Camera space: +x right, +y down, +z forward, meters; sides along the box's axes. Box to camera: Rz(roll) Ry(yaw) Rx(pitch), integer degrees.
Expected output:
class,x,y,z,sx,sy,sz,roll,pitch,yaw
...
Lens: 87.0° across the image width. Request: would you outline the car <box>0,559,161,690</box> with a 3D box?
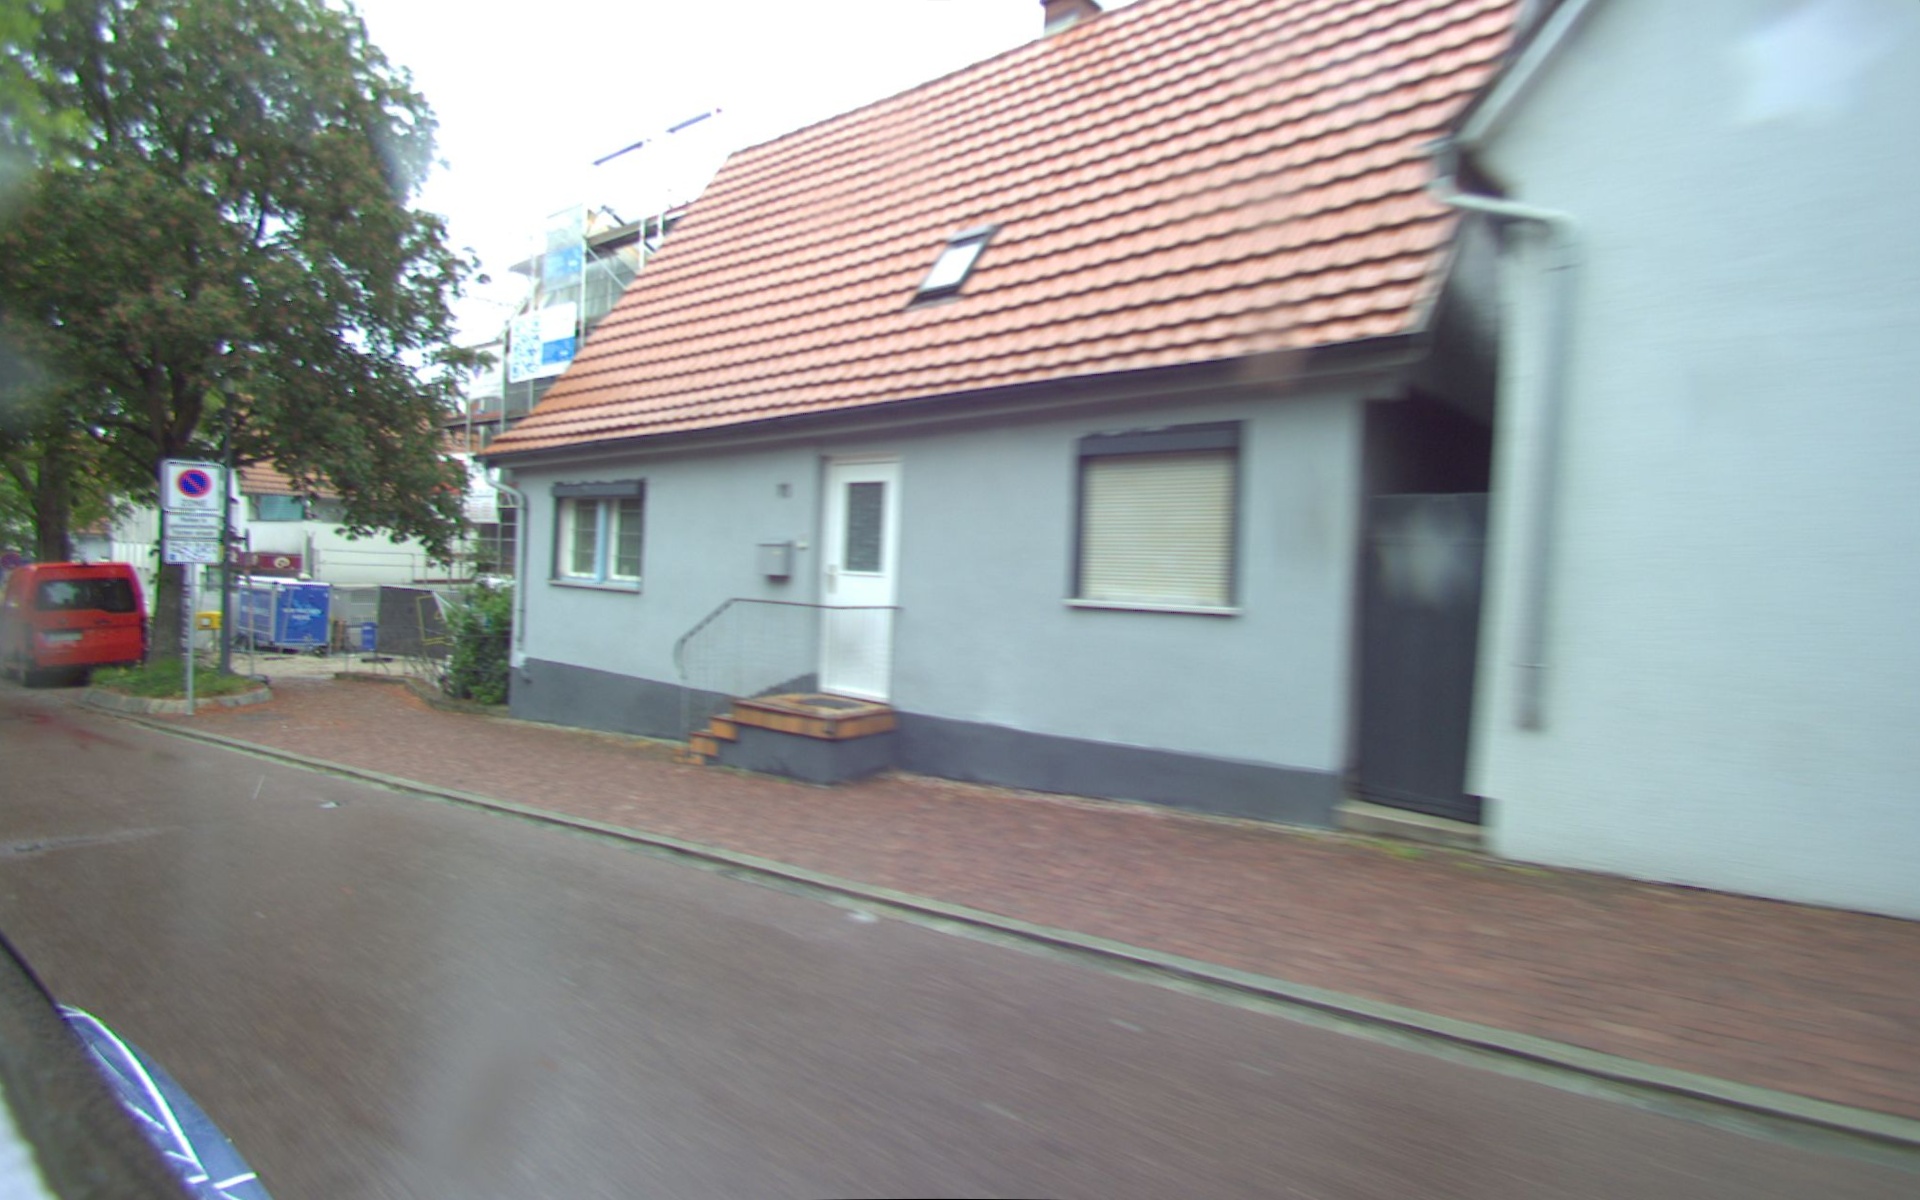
class,x,y,z,sx,sy,sz,roll,pitch,yaw
car,-19.516,0.535,22.117,5.783,2.502,2.279,-2,-2,42
